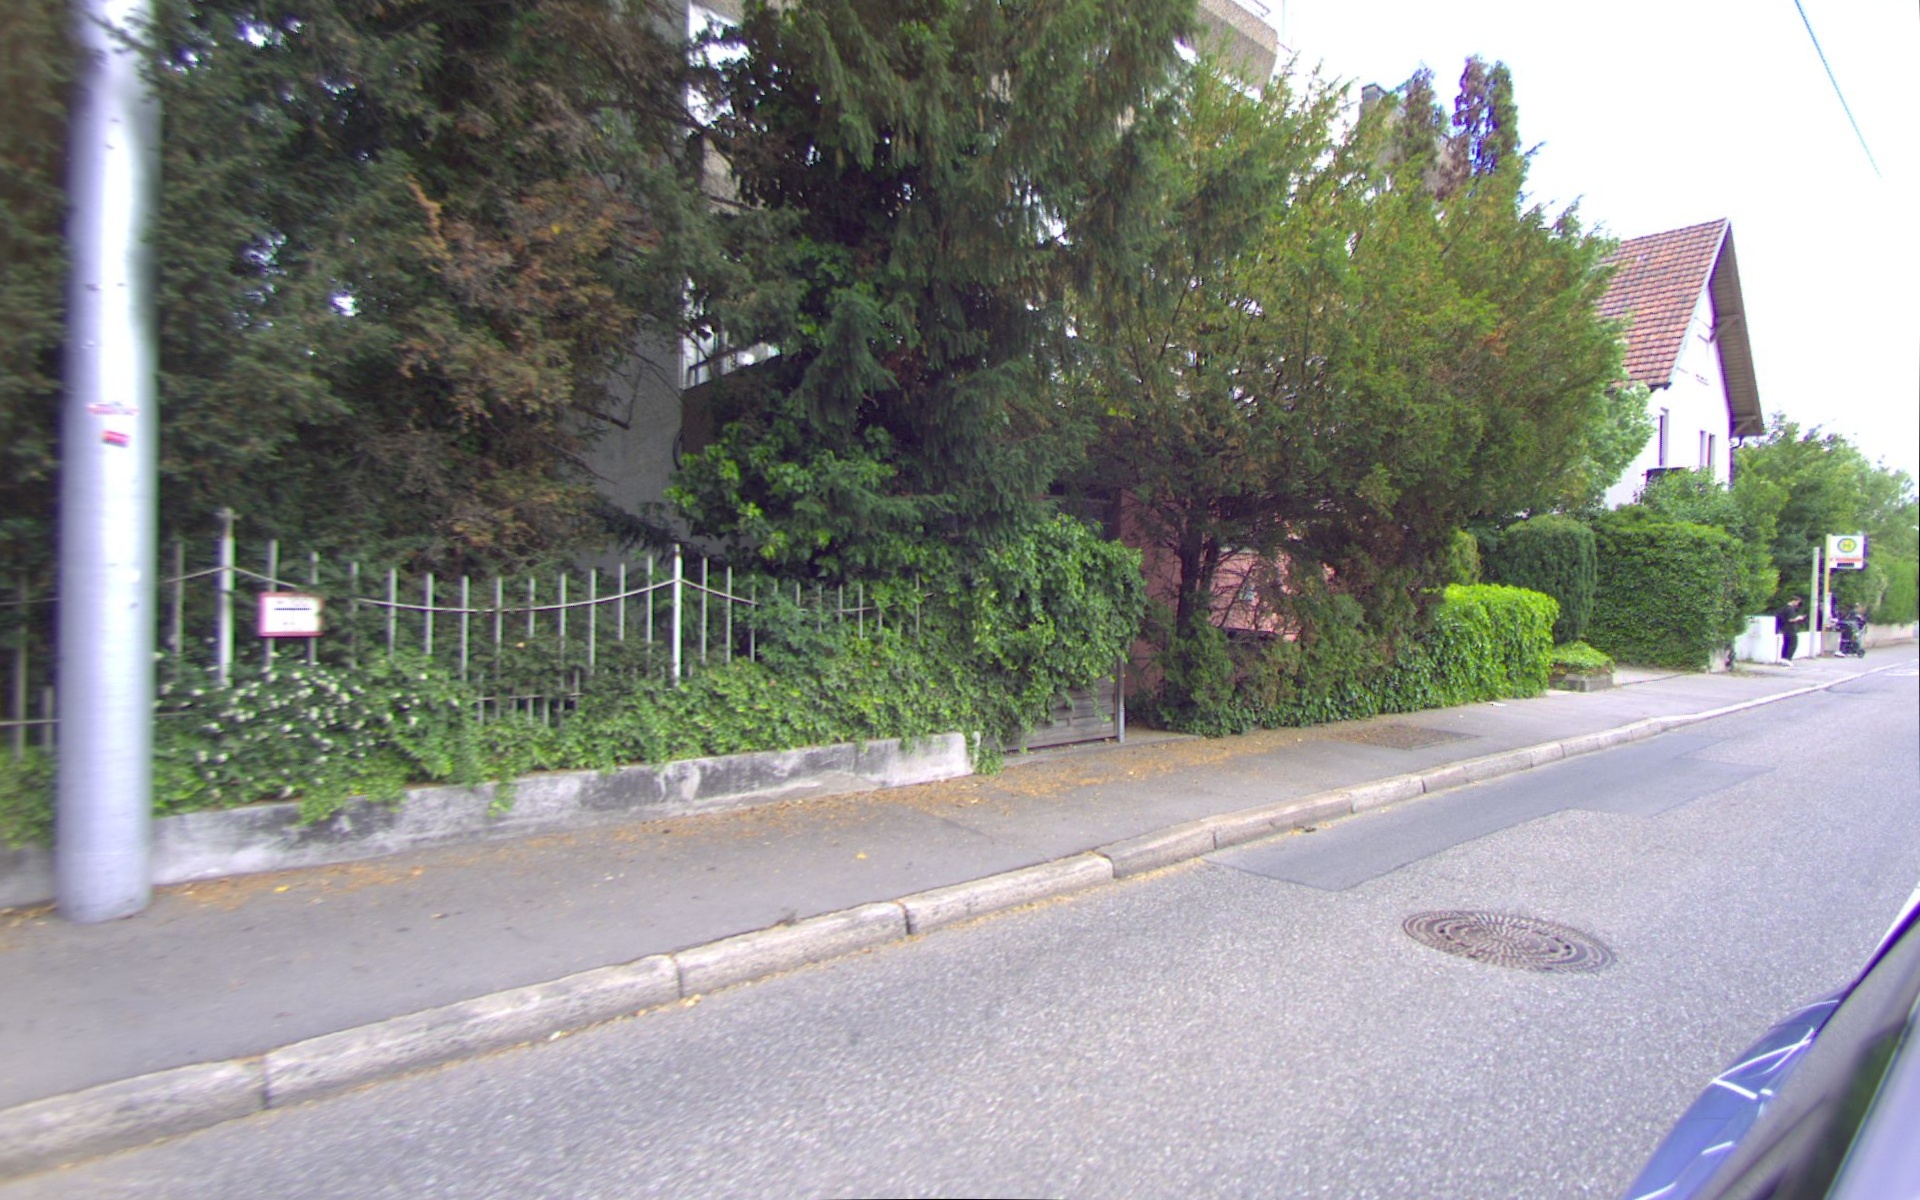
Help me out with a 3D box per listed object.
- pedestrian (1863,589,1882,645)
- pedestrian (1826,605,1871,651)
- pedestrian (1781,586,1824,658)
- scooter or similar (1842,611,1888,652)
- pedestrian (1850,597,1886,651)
[{"bbox_3d":[29.344,0.532,32.553,0.344,1.777,0.489,4,3,45],"label":"pedestrian"},{"bbox_3d":[25.968,0.799,29.578,0.914,1.267,0.777,4,3,44],"label":"pedestrian"},{"bbox_3d":[21.293,0.546,25.585,0.657,1.789,0.491,-1,-1,-9],"label":"pedestrian"},{"bbox_3d":[26.870,0.932,30.048,0.842,1.110,0.479,3,3,2],"label":"scooter or similar"},{"bbox_3d":[27.479,0.704,30.627,0.736,1.553,0.661,0,3,-42],"label":"pedestrian"}]
